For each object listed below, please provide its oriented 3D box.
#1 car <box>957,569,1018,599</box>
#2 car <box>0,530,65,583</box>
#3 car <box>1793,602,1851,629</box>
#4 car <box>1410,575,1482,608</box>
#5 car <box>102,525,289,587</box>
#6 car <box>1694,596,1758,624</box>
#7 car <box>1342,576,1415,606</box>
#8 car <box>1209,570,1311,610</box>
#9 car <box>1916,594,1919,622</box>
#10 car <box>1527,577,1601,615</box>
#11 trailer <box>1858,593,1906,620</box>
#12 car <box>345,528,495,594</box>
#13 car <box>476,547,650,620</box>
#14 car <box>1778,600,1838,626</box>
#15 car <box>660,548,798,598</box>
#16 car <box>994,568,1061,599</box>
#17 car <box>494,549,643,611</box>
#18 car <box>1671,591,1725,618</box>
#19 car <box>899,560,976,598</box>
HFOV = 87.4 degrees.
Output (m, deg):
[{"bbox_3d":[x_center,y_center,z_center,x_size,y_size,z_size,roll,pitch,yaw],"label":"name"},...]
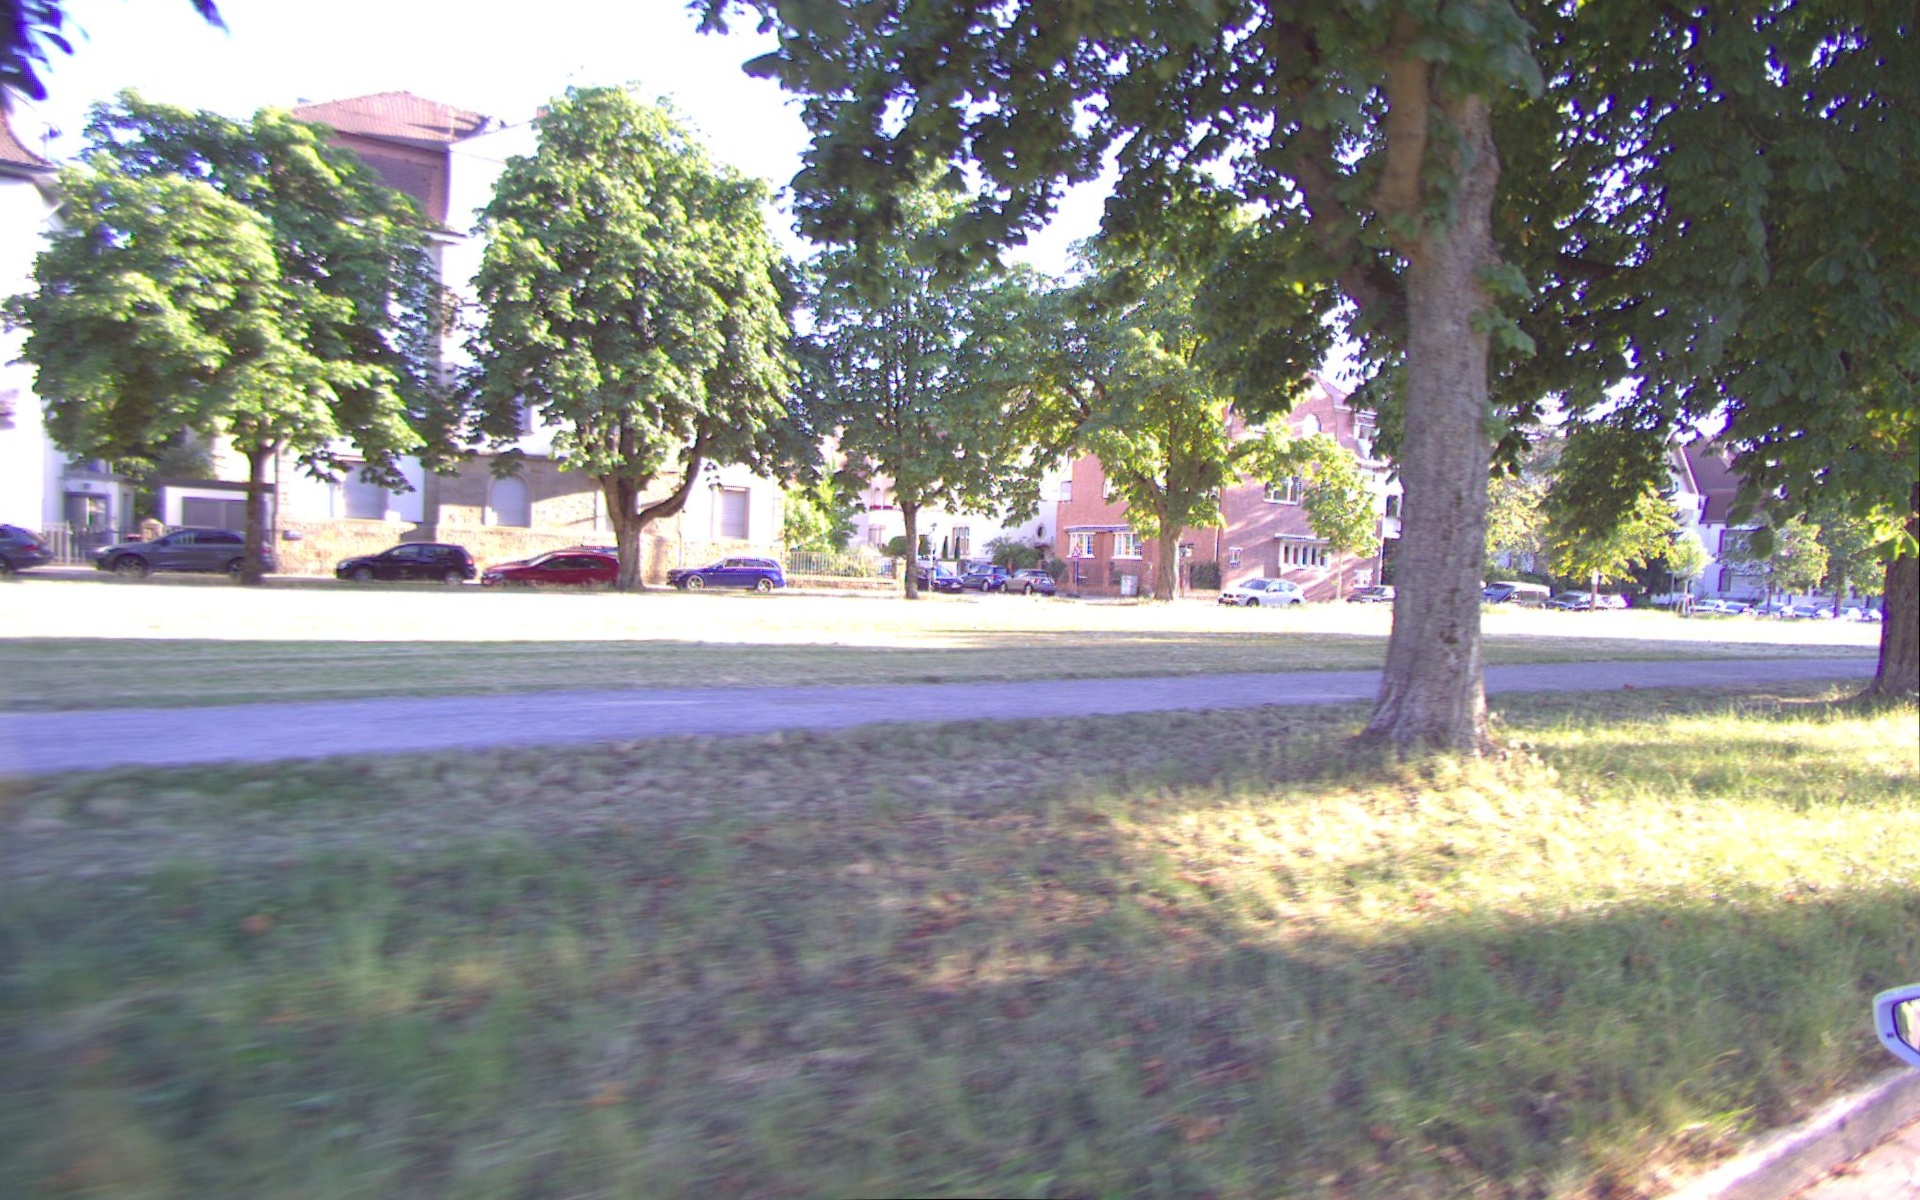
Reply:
[{"bbox_3d":[1.599,-0.945,59.805,1.814,1.595,3.877,1,2,-30],"label":"car"},{"bbox_3d":[-28.486,-1.304,28.630,4.123,1.449,1.982,1,2,-33],"label":"car"},{"bbox_3d":[67.416,1.213,78.518,4.203,1.885,1.985,2,3,-29],"label":"car"},{"bbox_3d":[30.275,-0.508,62.506,4.355,1.862,1.808,1,2,-30],"label":"car"},{"bbox_3d":[-23.531,-1.339,31.142,4.379,1.675,1.983,1,2,-31],"label":"car"},{"bbox_3d":[53.231,0.727,69.782,3.950,1.706,1.985,2,2,-28],"label":"car"},{"bbox_3d":[24.987,-0.529,59.963,4.253,1.645,1.748,1,2,-30],"label":"car"},{"bbox_3d":[13.874,-0.475,46.427,4.596,1.661,1.810,1,2,-30],"label":"car"},{"bbox_3d":[103.476,0.947,105.856,5.749,2.961,2.426,2,0,-30],"label":"car"},{"bbox_3d":[35.846,-0.237,59.645,3.952,2.041,1.984,1,3,-30],"label":"car"},{"bbox_3d":[89.443,0.624,97.401,4.667,2.460,1.984,2,2,-30],"label":"trailer"},{"bbox_3d":[-18.371,-1.309,34.240,4.379,2.041,1.983,1,2,-31],"label":"car"},{"bbox_3d":[-12.267,-0.492,31.094,4.815,2.041,1.985,1,2,-28],"label":"car"},{"bbox_3d":[63.508,0.995,75.225,4.203,1.744,1.985,2,3,-29],"label":"car"},{"bbox_3d":[-9.068,-1.042,39.545,4.950,1.773,1.983,1,3,-31],"label":"car"},{"bbox_3d":[3.730,-0.926,56.137,1.842,1.506,3.969,1,3,-28],"label":"car"},{"bbox_3d":[-14.195,-0.707,36.440,4.815,2.041,1.985,1,2,-28],"label":"car"},{"bbox_3d":[58.291,0.361,79.336,3.952,2.040,2.022,2,0,-29],"label":"car"},{"bbox_3d":[-1.262,-1.157,53.507,1.977,1.628,4.833,8,-1,-28],"label":"car"}]
